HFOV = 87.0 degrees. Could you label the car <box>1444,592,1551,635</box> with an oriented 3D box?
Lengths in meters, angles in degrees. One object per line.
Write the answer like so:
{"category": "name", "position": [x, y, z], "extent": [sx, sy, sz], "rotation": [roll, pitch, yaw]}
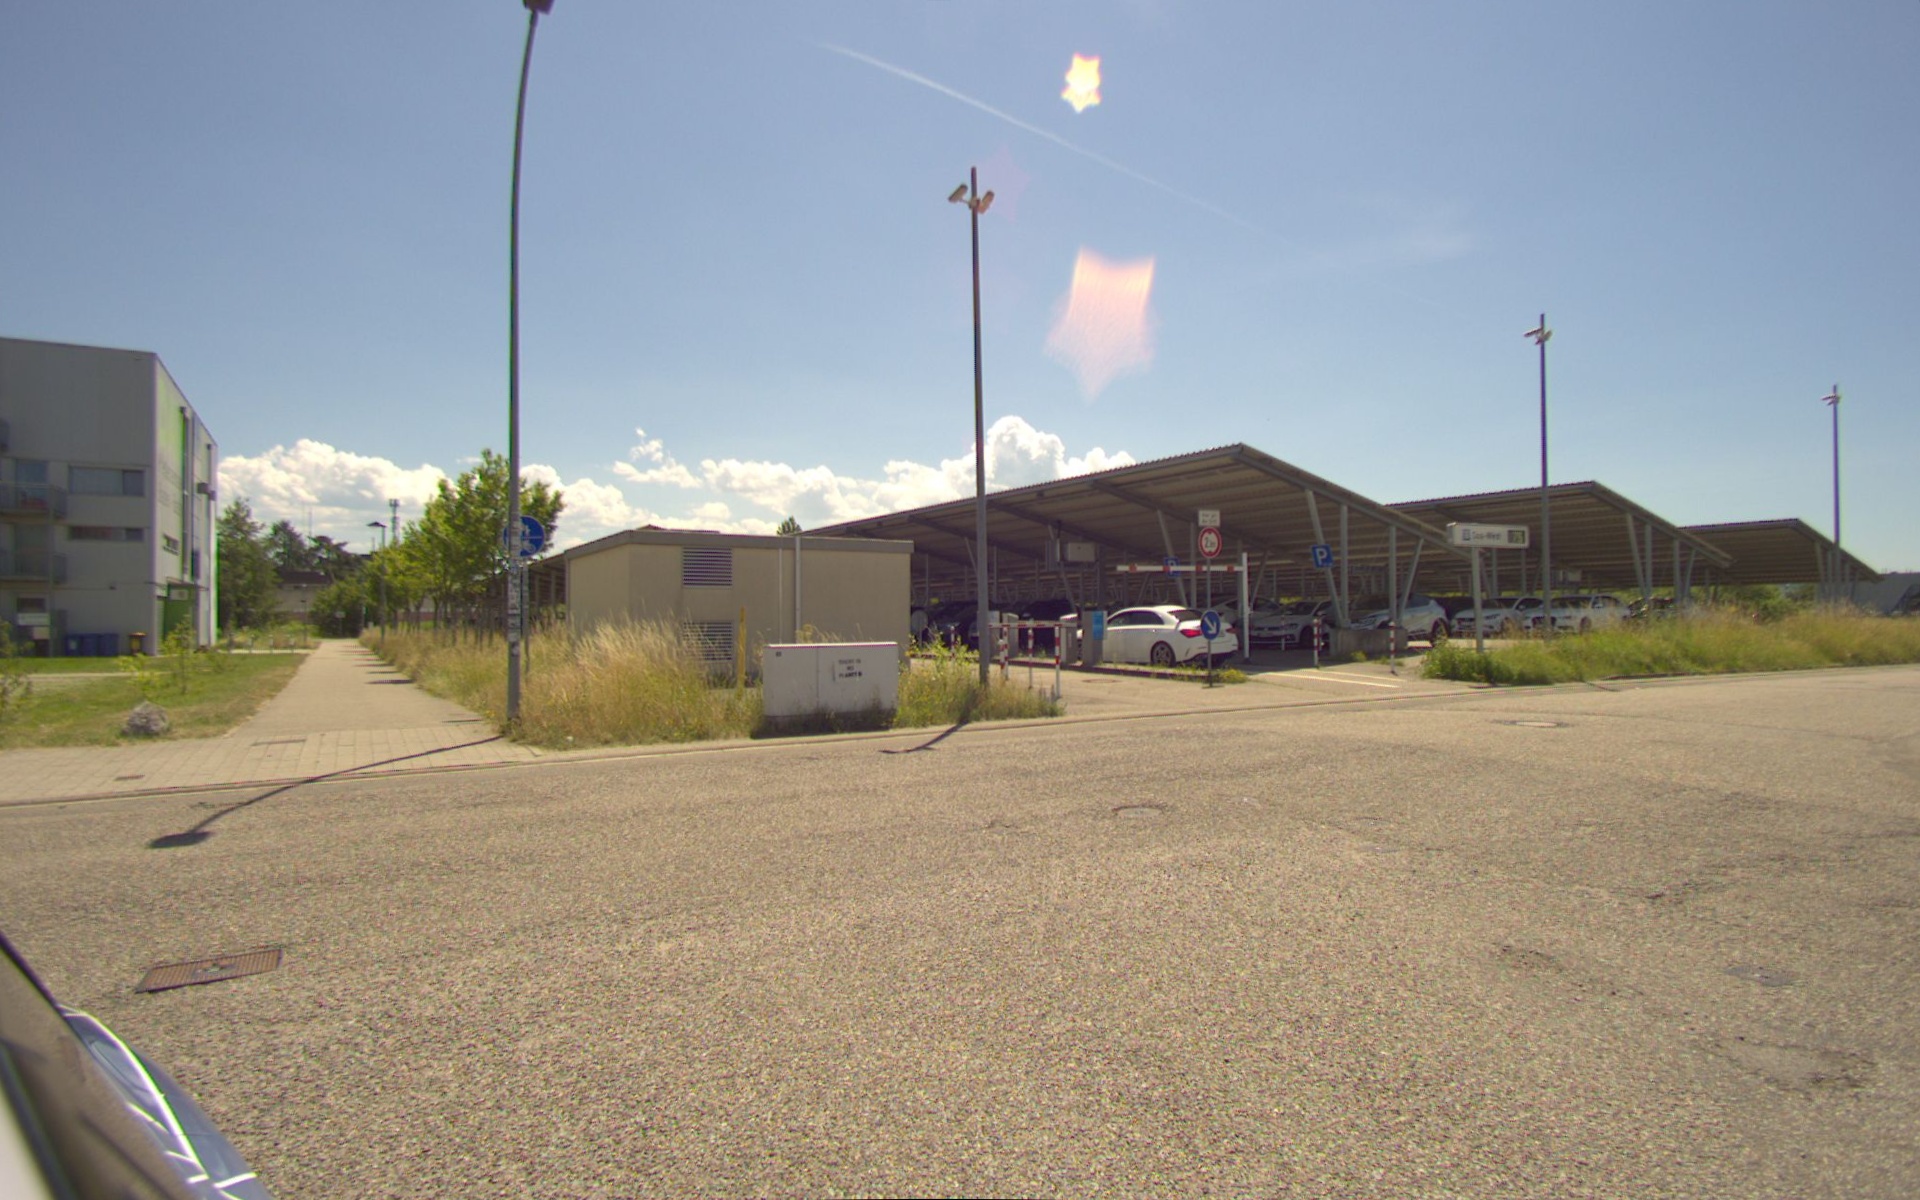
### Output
{"category": "car", "position": [19.034, 0.499, 35.821], "extent": [3.712, 1.447, 1.728], "rotation": [1, -2, -33]}

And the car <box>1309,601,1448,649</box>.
{"category": "car", "position": [11.566, 0.694, 27.903], "extent": [3.712, 1.237, 1.728], "rotation": [1, -2, -33]}

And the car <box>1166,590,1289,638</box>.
{"category": "car", "position": [8.523, 0.473, 32.218], "extent": [3.712, 1.447, 1.728], "rotation": [1, -2, -33]}

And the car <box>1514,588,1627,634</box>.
{"category": "car", "position": [20.131, 0.390, 33.363], "extent": [3.712, 1.447, 1.728], "rotation": [1, -2, -33]}

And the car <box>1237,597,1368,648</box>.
{"category": "car", "position": [10.215, 0.670, 30.130], "extent": [3.712, 1.447, 1.728], "rotation": [1, -2, -33]}

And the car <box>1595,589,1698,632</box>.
{"category": "car", "position": [24.725, 0.399, 36.437], "extent": [3.712, 1.447, 1.728], "rotation": [1, -2, -33]}

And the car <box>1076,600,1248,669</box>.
{"category": "car", "position": [4.554, 0.785, 23.306], "extent": [1.694, 1.447, 3.786], "rotation": [1, -2, -33]}

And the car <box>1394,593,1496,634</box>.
{"category": "car", "position": [18.047, 0.522, 37.623], "extent": [3.712, 1.447, 1.728], "rotation": [1, -2, -33]}
